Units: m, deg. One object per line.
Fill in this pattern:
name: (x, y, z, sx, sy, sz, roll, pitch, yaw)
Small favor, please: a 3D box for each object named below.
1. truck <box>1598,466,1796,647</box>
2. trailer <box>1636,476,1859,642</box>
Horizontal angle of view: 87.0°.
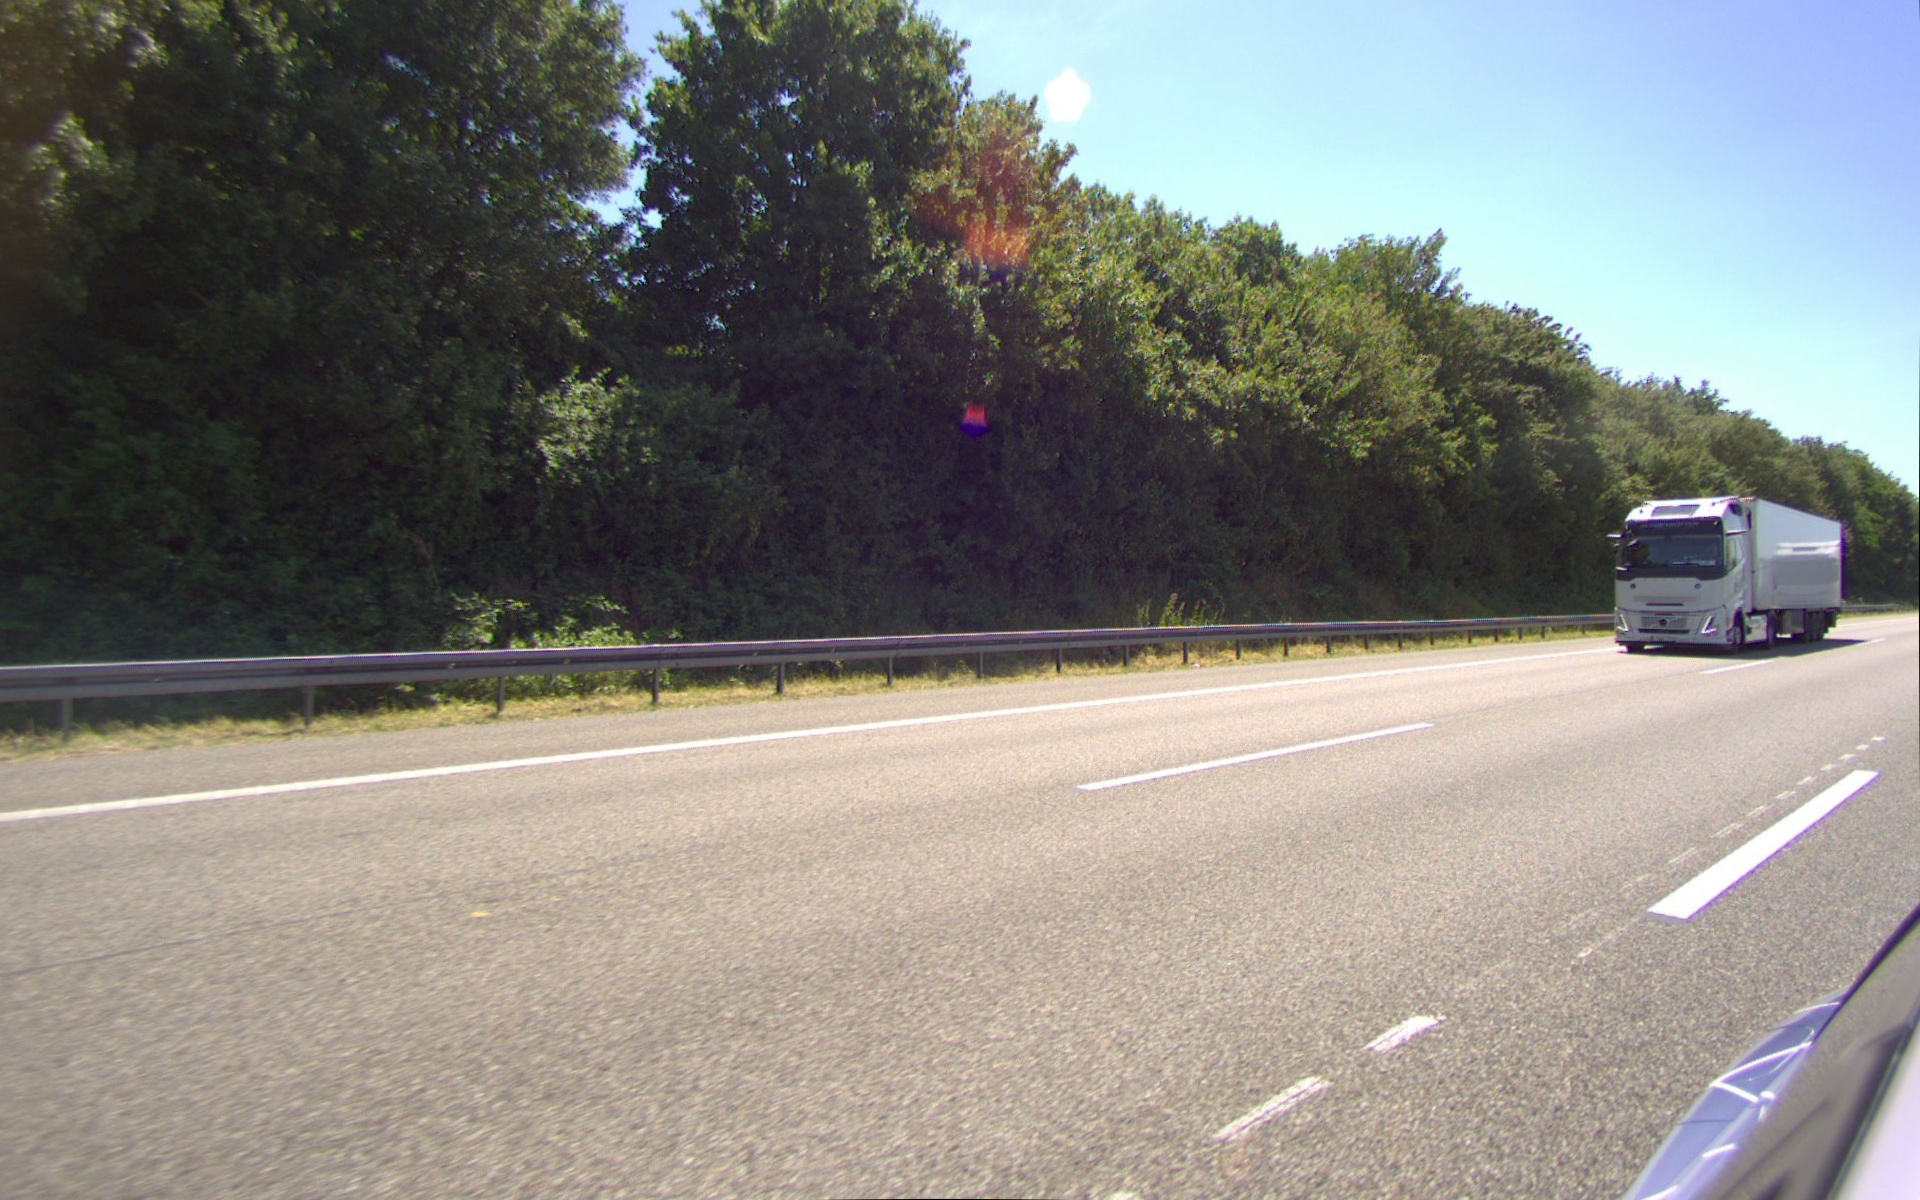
truck: (19.717, -1.055, 26.965, 5.944, 4.268, 3.052, 0, 1, -41)
trailer: (24.979, -1.109, 31.634, 13.595, 4.277, 3.044, 0, 1, -42)
